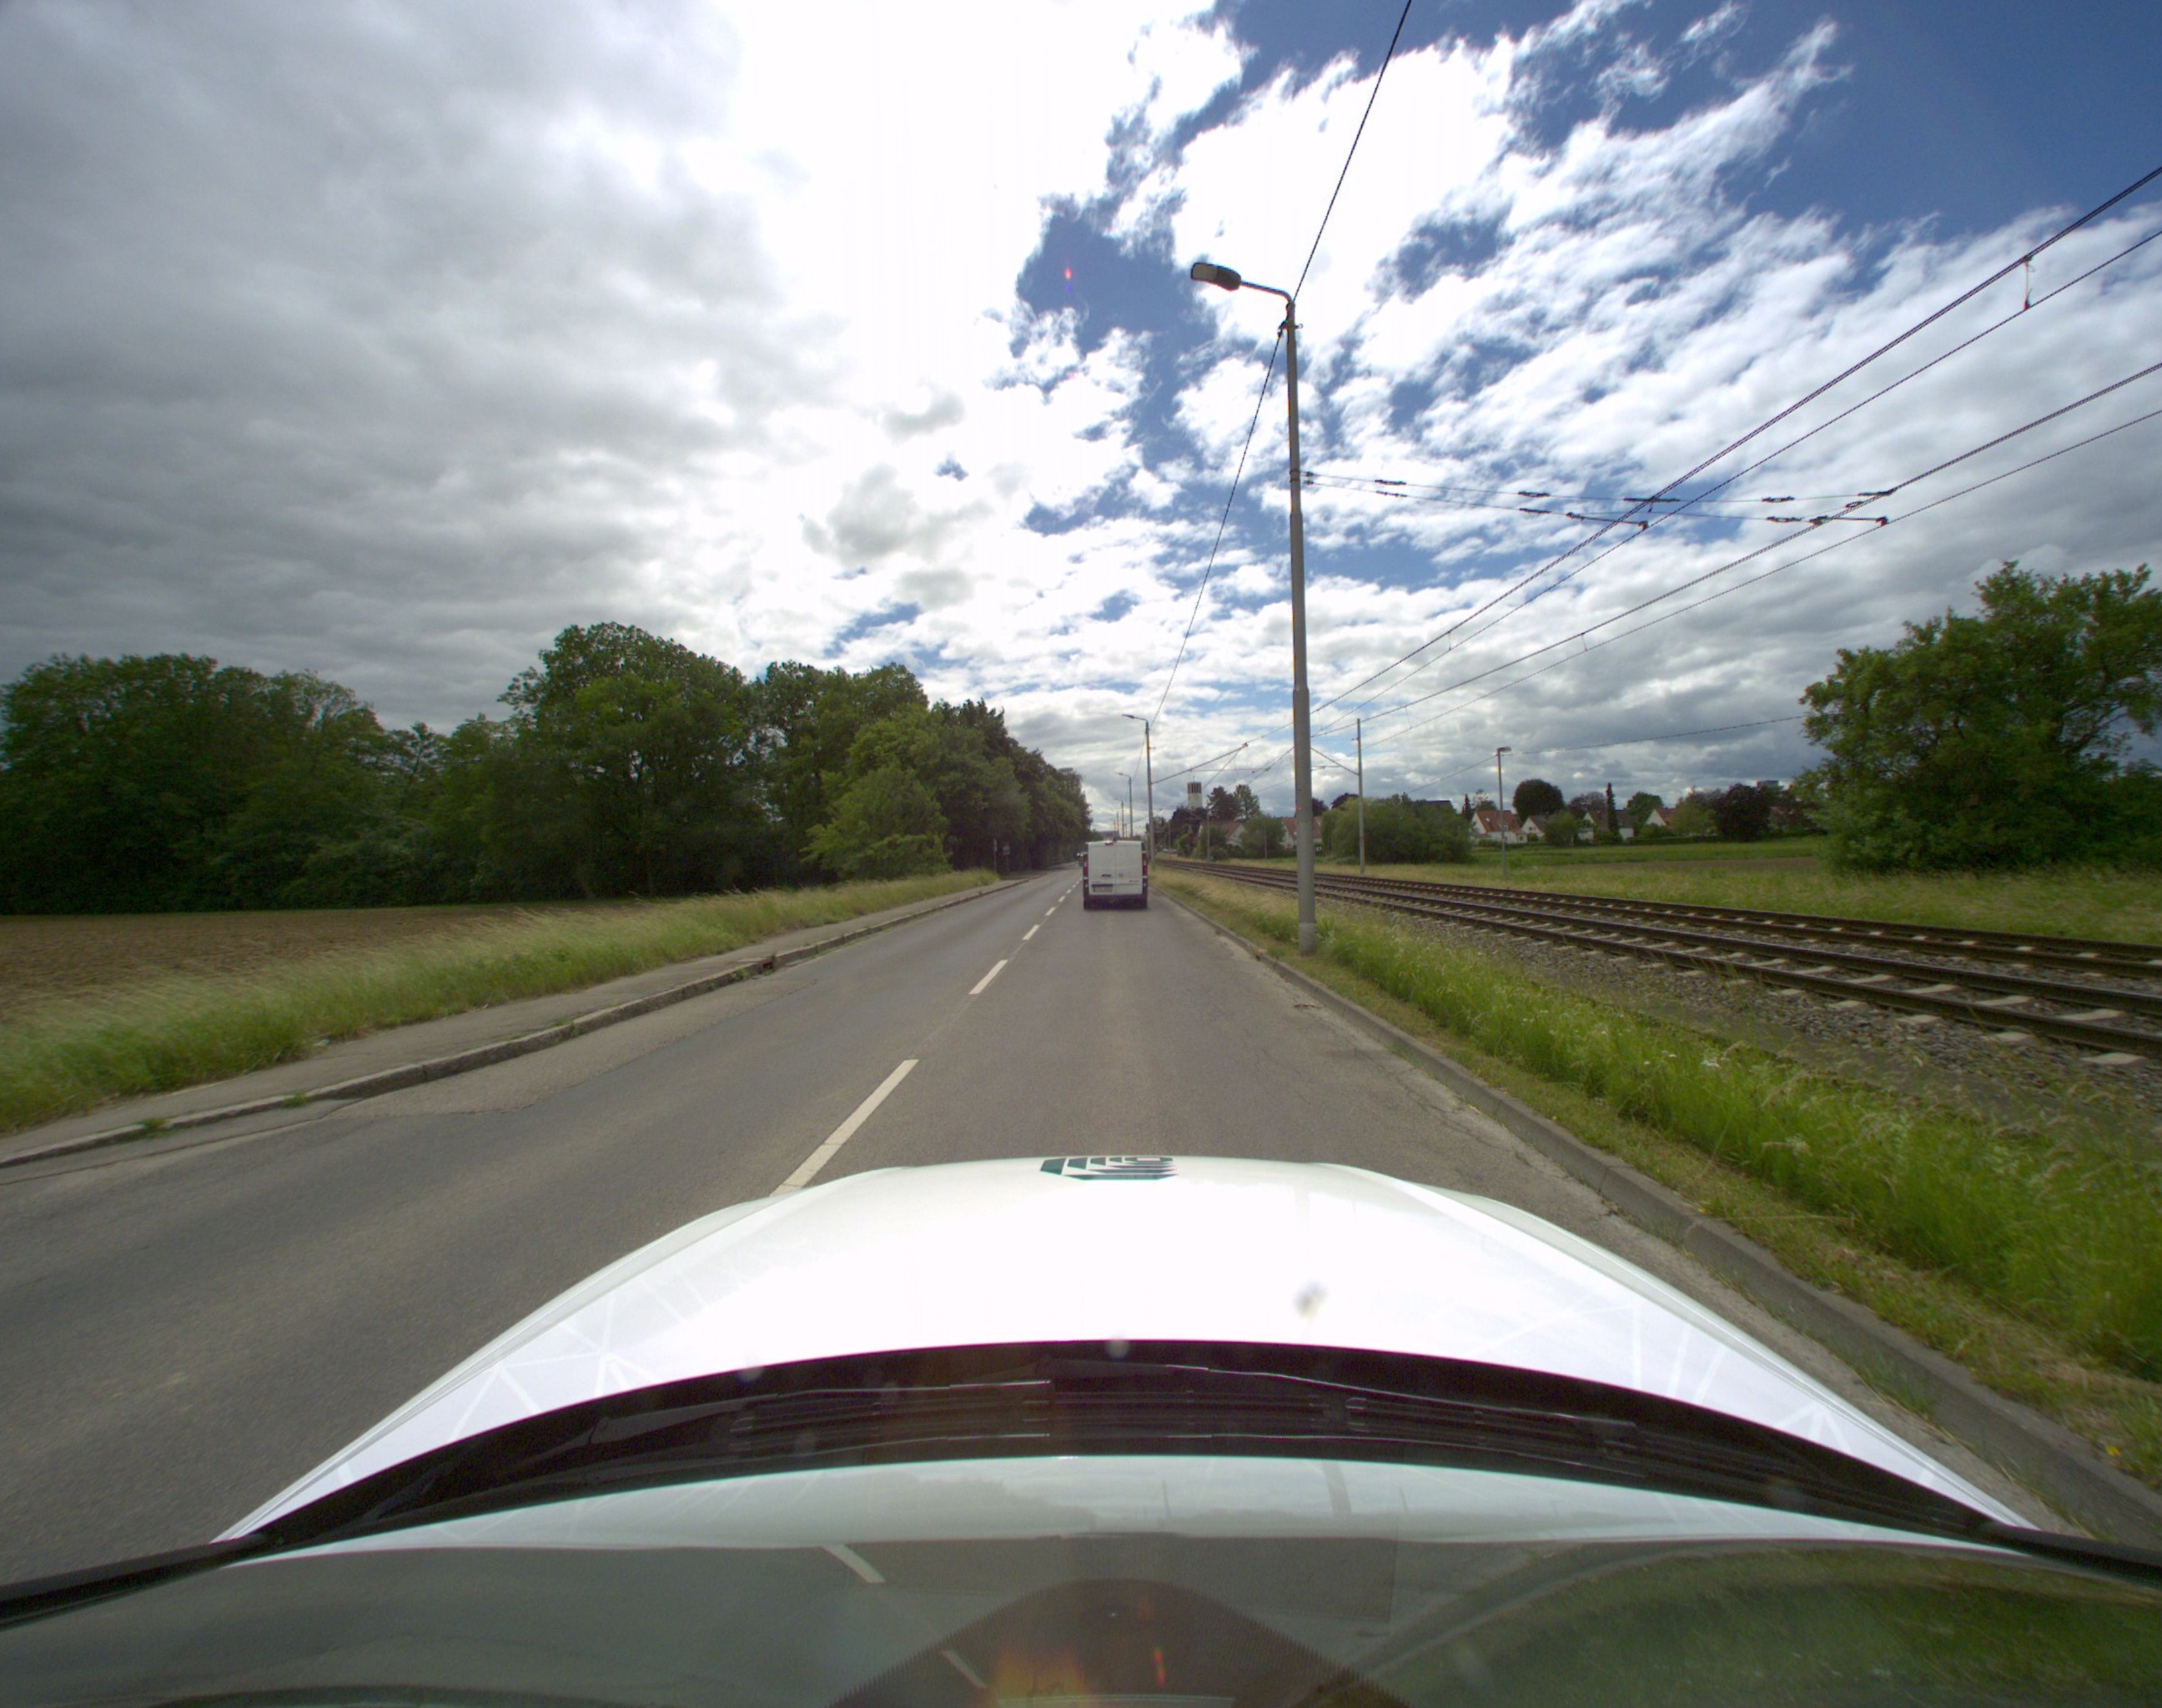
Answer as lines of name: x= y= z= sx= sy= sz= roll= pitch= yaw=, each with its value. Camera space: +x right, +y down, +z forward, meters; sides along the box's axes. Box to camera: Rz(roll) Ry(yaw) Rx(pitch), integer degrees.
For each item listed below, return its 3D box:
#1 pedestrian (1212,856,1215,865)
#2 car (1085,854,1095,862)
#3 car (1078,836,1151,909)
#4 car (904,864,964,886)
pedestrian: x=23.659 y=1.189 z=145.493 sx=0.524 sy=1.506 sz=0.657 roll=-2 pitch=-1 yaw=1
car: x=1.917 y=0.906 z=176.973 sx=1.987 sy=1.717 sz=4.123 roll=-2 pitch=0 yaw=0
car: x=0.948 y=0.540 z=24.550 sx=1.987 sy=1.957 sz=4.000 roll=-1 pitch=-1 yaw=0
car: x=-10.881 y=1.568 z=60.563 sx=3.970 sy=1.299 sz=1.746 roll=-4 pitch=-1 yaw=3
